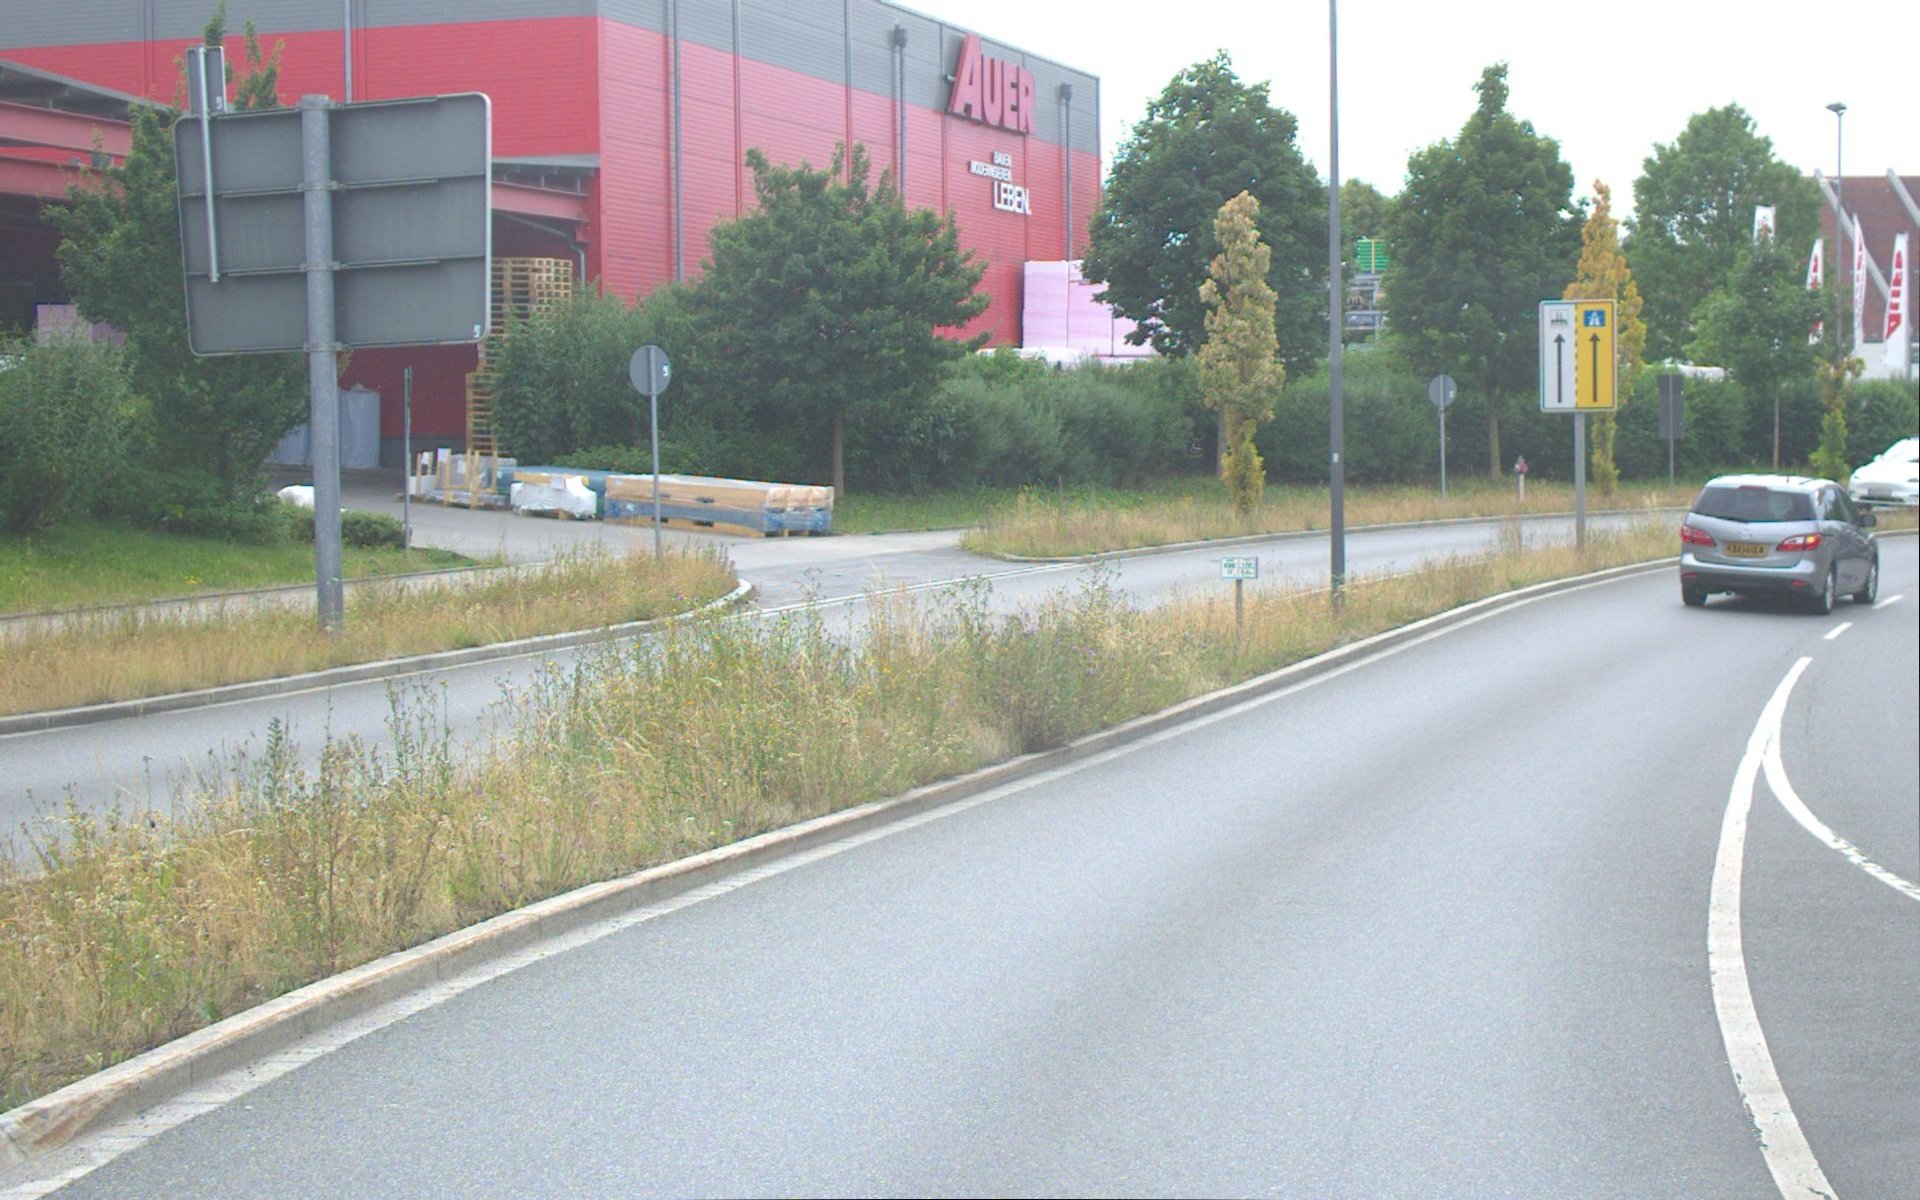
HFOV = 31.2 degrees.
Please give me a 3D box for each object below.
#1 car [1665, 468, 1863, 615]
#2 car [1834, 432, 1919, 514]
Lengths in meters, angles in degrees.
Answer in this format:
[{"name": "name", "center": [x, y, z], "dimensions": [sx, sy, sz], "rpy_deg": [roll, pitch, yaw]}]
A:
[{"name": "car", "center": [9.852, -0.738, 41.960], "dimensions": [1.769, 1.611, 3.918], "rpy_deg": [4, 3, 20]}, {"name": "car", "center": [20.869, -2.724, 73.754], "dimensions": [4.625, 1.620, 1.914], "rpy_deg": [-2, 6, -45]}]
